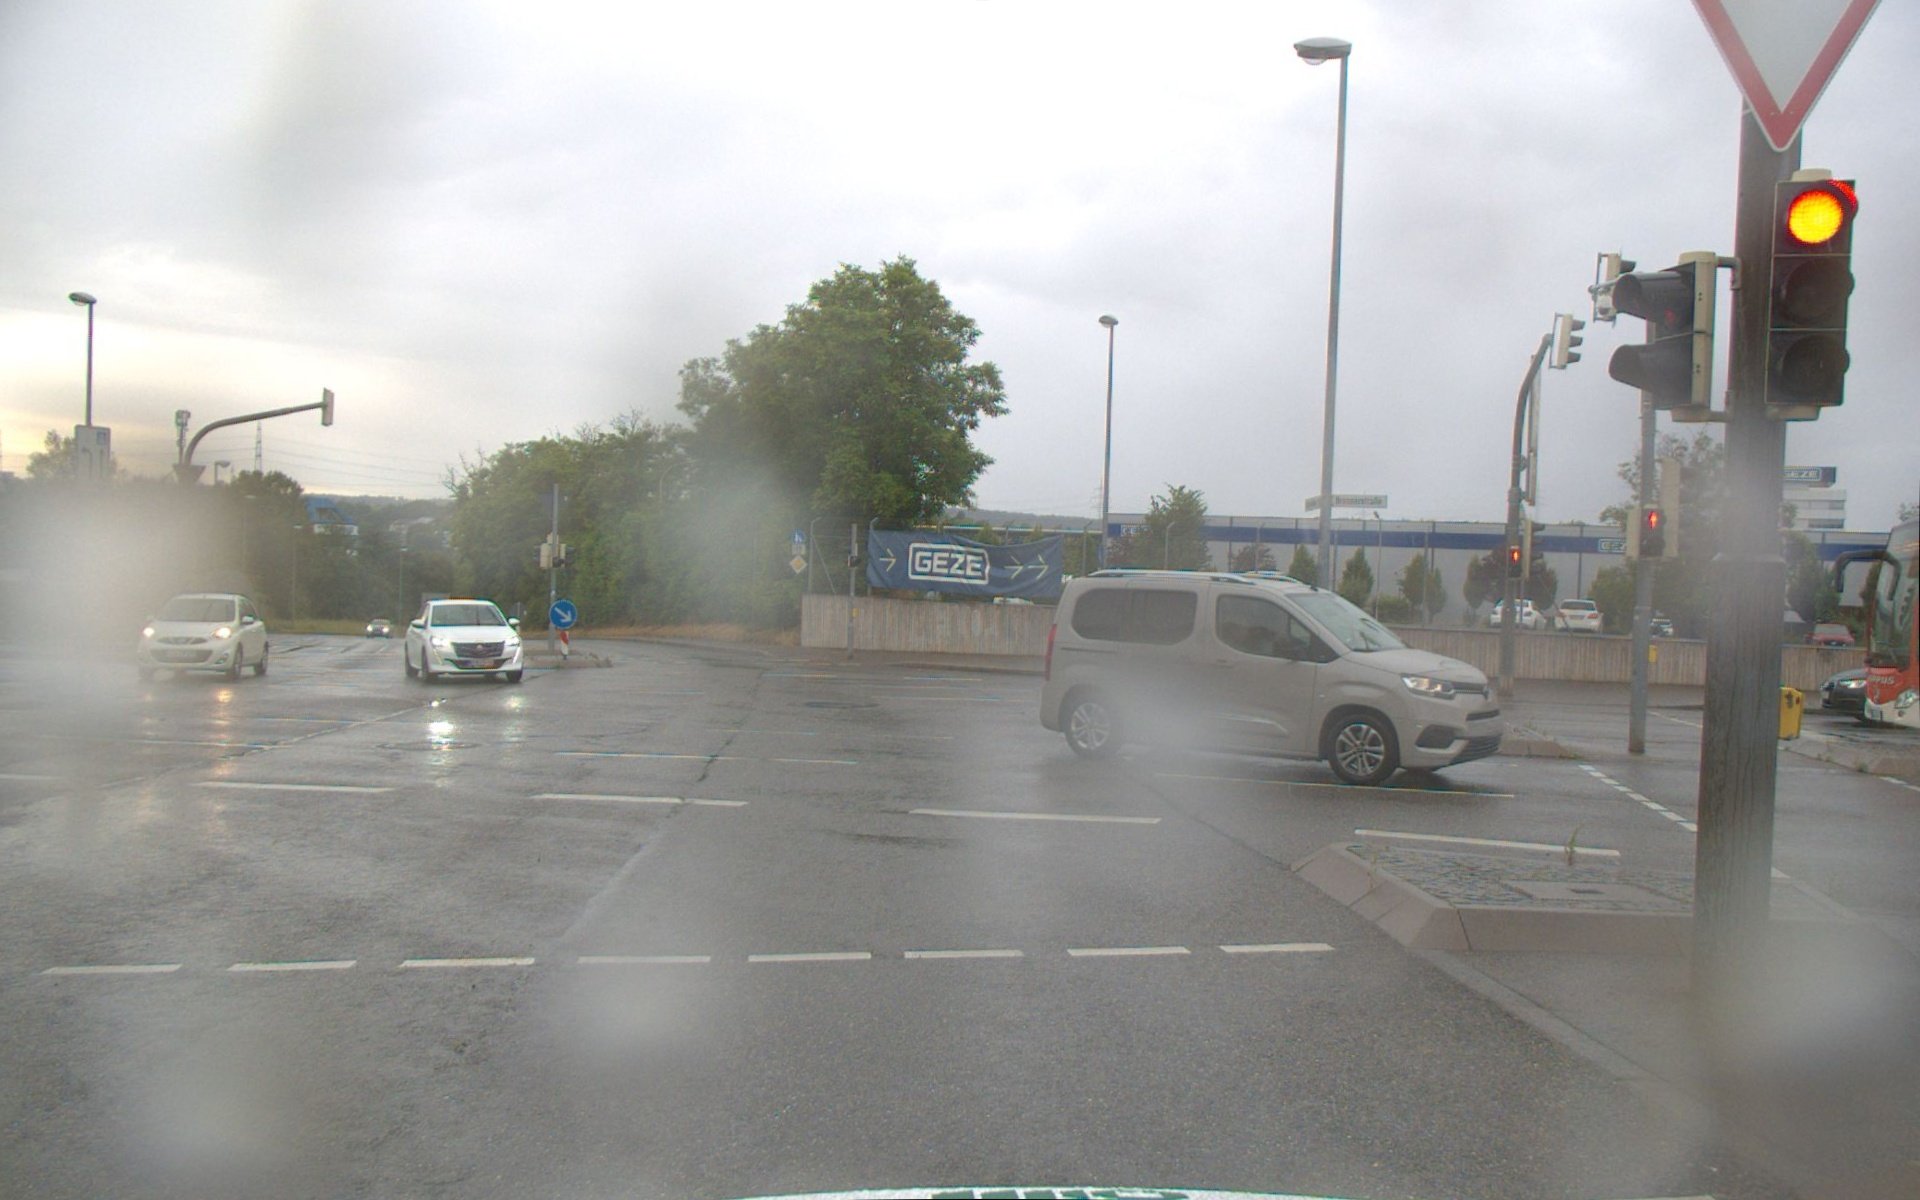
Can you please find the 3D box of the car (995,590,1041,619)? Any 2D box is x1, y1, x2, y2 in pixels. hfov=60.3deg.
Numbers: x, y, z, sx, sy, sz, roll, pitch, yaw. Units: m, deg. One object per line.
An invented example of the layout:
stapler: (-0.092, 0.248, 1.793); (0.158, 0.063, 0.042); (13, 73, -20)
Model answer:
car: (3.361, 0.293, 95.938); (1.632, 1.634, 3.531); (1, 0, 20)

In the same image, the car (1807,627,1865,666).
car: (39.177, 2.049, 74.047); (1.883, 1.616, 3.788); (2, 0, 22)

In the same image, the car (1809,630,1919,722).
car: (16.285, 1.254, 26.679); (4.286, 1.378, 1.827); (2, 0, 16)

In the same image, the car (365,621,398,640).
car: (-45.949, 2.410, 131.361); (1.630, 1.521, 3.993); (1, -1, -8)

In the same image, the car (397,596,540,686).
car: (-9.144, 0.722, 30.608); (1.843, 1.534, 3.945); (1, 0, -27)

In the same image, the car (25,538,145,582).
car: (-35.839, -1.620, 67.814); (3.902, 1.614, 1.903); (1, -2, 8)

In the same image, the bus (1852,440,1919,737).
bus: (17.808, 0.173, 19.843); (11.995, 3.638, 2.988); (3, 0, 17)

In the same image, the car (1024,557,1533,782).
car: (2.997, 0.571, 15.937); (4.394, 1.876, 1.992); (1, 0, 36)

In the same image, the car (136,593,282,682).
car: (-13.891, 0.641, 30.775); (1.591, 1.531, 3.813); (0, 1, -11)

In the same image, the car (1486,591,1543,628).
car: (23.045, 0.408, 68.689); (1.781, 1.459, 4.100); (1, 0, 25)

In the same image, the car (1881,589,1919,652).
car: (32.412, 0.706, 55.813); (1.707, 2.049, 3.824); (1, 0, 20)

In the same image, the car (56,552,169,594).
car: (-36.232, -1.143, 70.731); (3.902, 1.614, 1.903); (1, -2, 12)

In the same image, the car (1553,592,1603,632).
car: (25.461, 0.493, 68.095); (1.820, 1.552, 4.103); (1, 0, 22)

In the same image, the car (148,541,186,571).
car: (-45.155, -2.469, 94.120); (1.806, 1.467, 3.964); (3, -2, -27)

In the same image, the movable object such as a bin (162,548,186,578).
movable object such as a bin: (-40.953, -1.907, 86.154); (1.071, 1.462, 1.434); (3, -2, -27)

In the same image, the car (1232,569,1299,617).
car: (10.660, -0.221, 57.591); (1.707, 1.580, 3.531); (1, 0, 20)
